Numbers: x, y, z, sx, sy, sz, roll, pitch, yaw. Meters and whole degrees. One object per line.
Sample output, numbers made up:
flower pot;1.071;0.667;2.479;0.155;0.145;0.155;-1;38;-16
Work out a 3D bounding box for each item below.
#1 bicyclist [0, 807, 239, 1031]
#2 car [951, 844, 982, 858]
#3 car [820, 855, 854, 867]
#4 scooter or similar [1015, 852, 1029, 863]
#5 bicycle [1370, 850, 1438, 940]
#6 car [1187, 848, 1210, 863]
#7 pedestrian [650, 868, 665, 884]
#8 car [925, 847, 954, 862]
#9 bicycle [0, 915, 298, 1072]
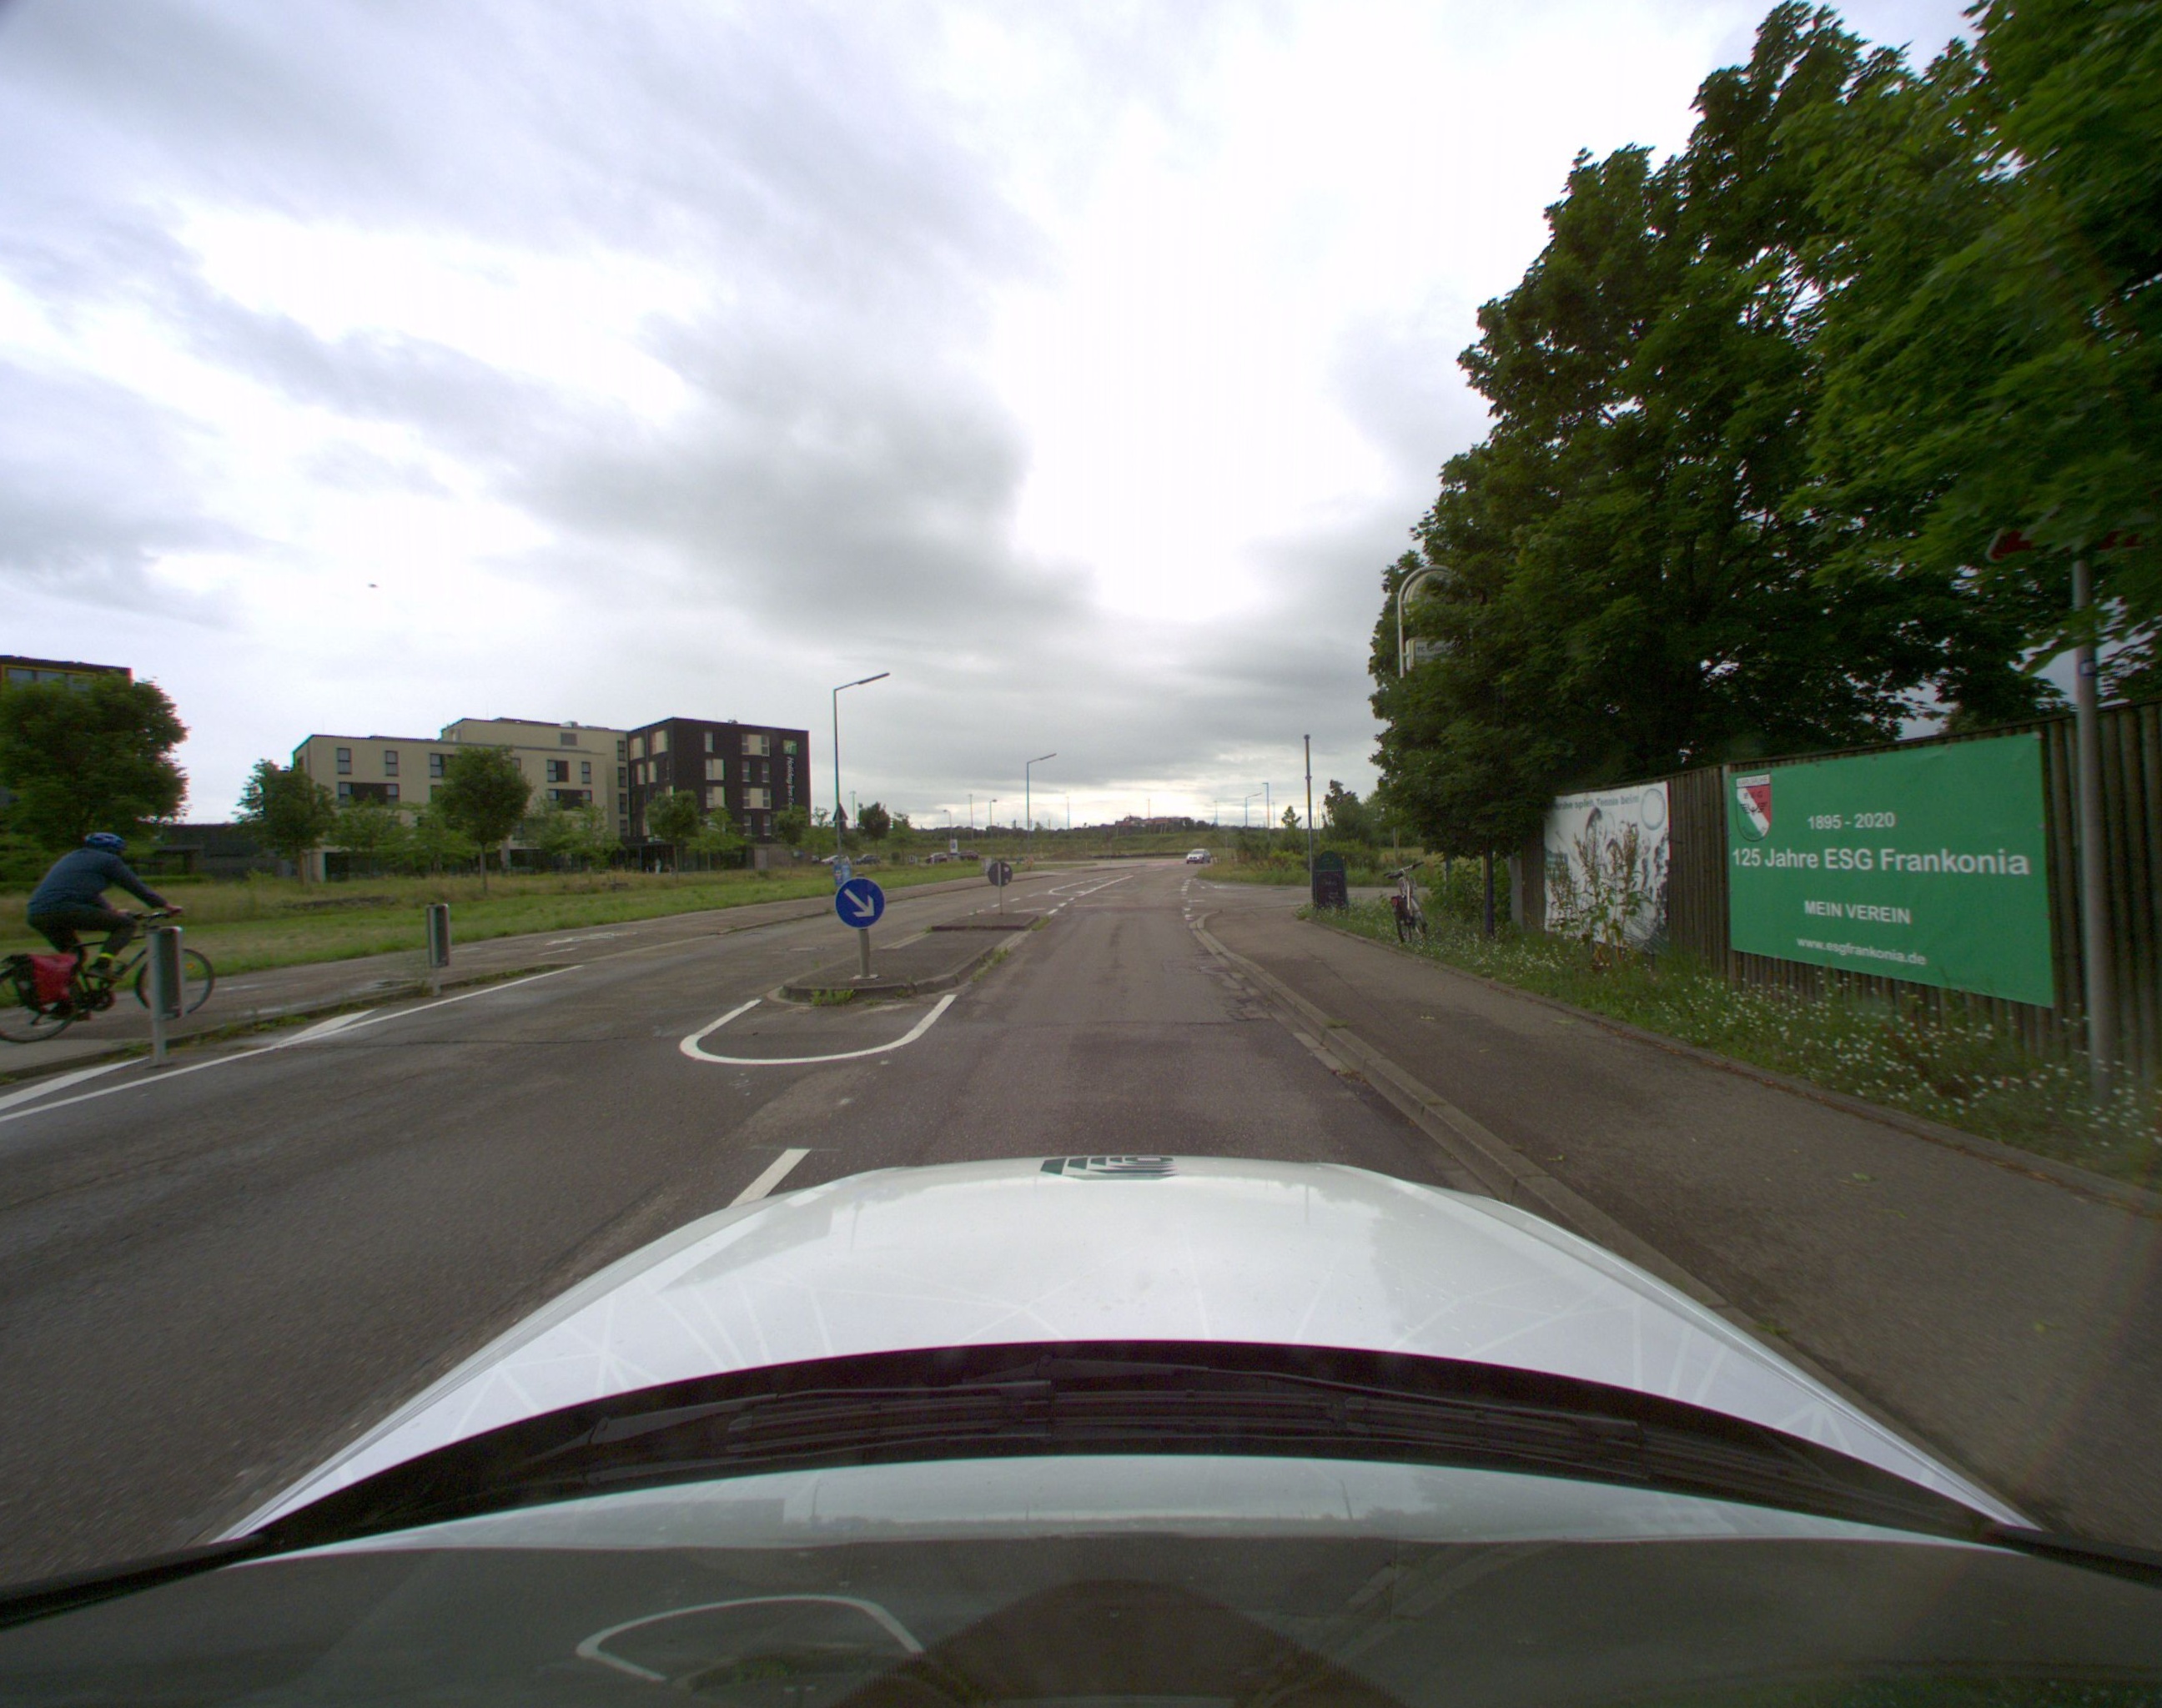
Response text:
bicyclist;-9.388;0.578;8.012;0.859;2.013;1.177;-2;1;0
car;-15.442;-0.409;109.467;3.949;1.822;2.013;-1;2;42
car;-33.279;0.950;111.168;1.974;1.517;4.181;-1;2;33
scooter or similar;-6.483;0.361;89.491;1.452;1.168;0.574;-1;1;15
bicycle;4.561;0.531;11.460;0.788;1.111;1.963;-2;1;23
car;12.289;0.122;84.918;1.658;1.461;4.076;0;1;19
pedestrian;-42.084;2.179;80.944;0.942;1.570;0.881;-2;1;24
car;-19.679;0.064;113.436;2.012;2.013;3.951;-4;2;-44
bicycle;-9.358;1.266;7.991;0.881;1.052;2.469;-2;1;1
